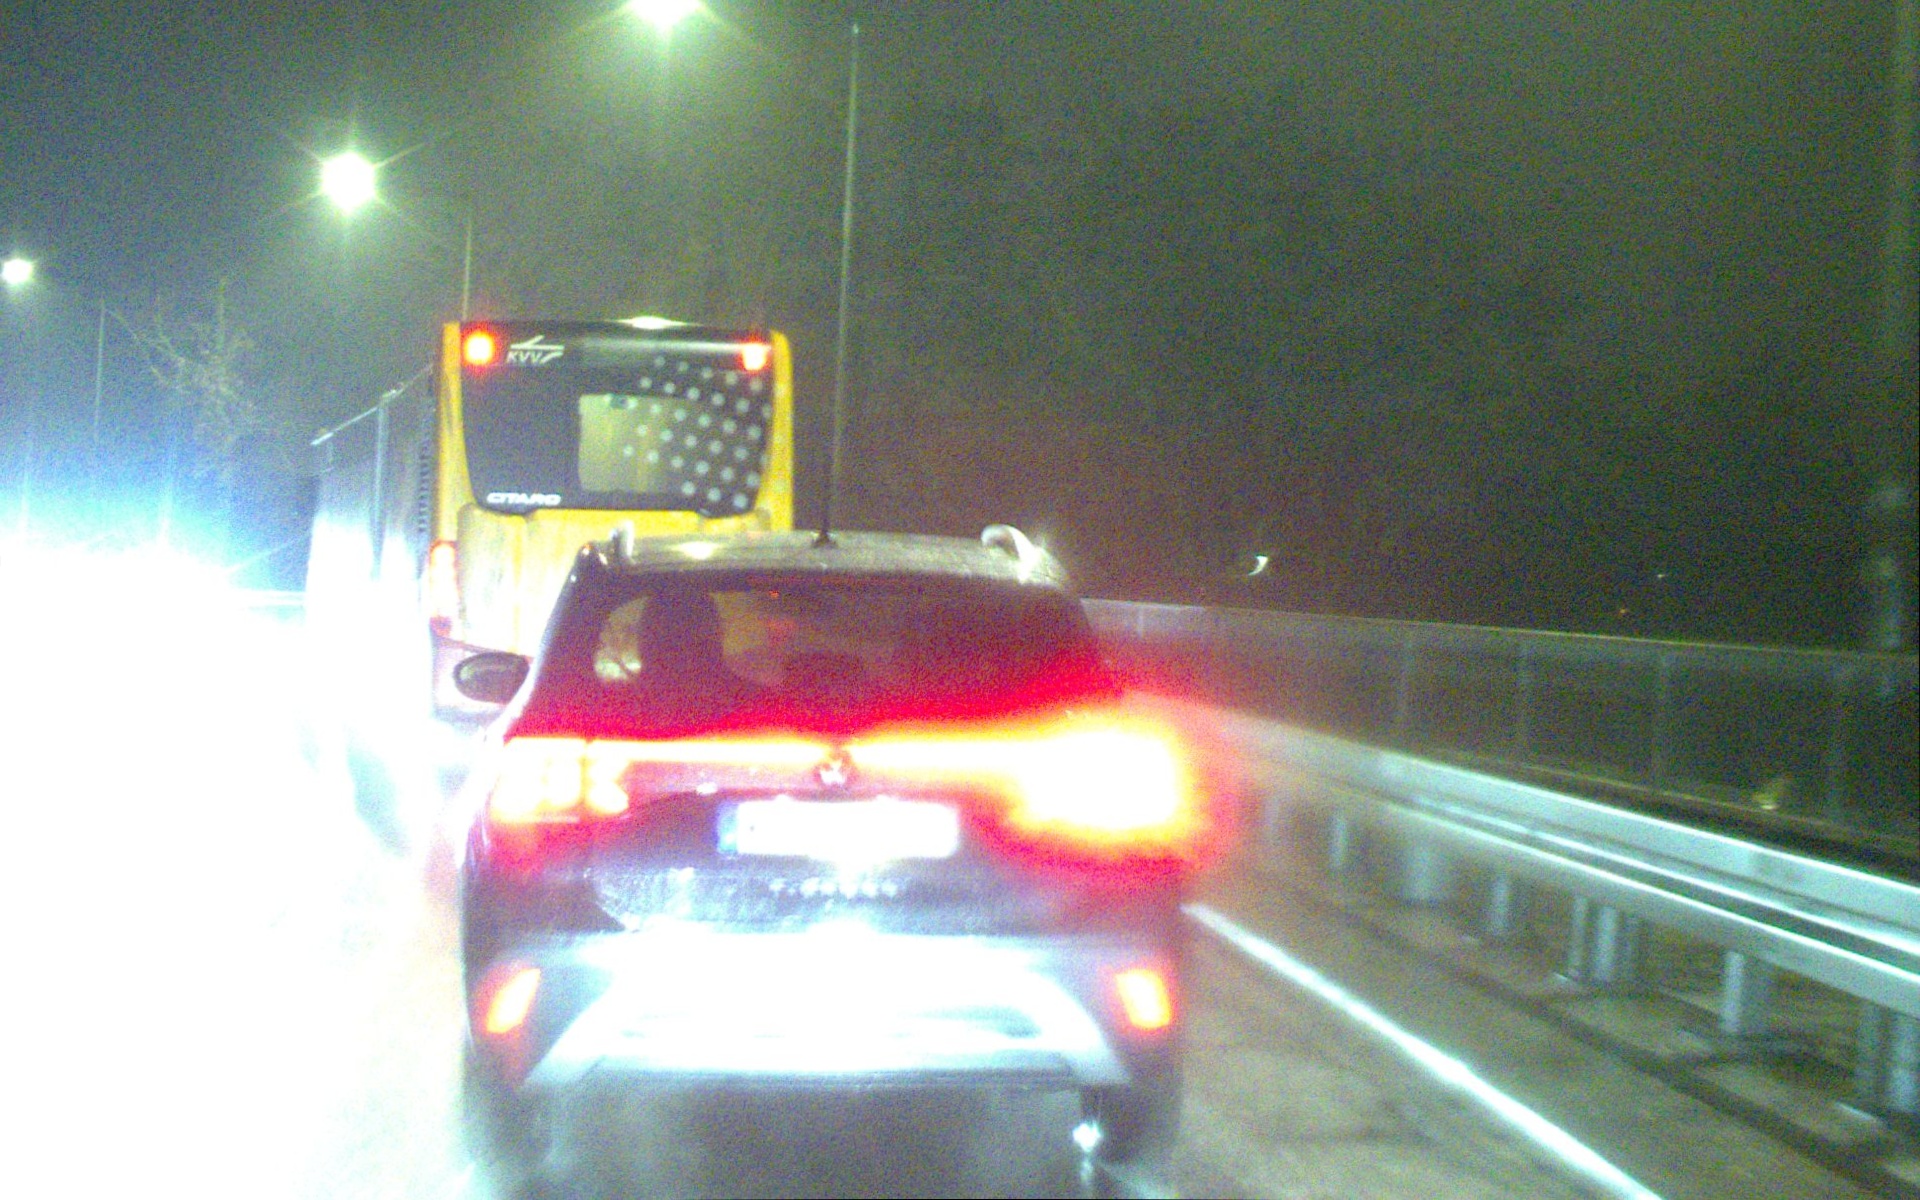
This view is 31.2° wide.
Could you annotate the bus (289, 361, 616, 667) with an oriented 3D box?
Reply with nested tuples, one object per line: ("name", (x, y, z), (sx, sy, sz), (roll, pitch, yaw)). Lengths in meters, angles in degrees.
("bus", (-5.981, -0.926, 39.334), (3.048, 3.121, 8.080), (-1, 1, -13))

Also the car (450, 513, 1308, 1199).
("car", (-0.346, 0.596, 9.453), (1.855, 1.581, 4.001), (0, 0, -5))

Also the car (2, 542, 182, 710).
("car", (-9.470, 0.242, 37.380), (1.778, 1.698, 4.315), (-1, 1, -15))

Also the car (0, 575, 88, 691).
("car", (-14.056, 0.460, 50.902), (1.792, 1.625, 3.994), (0, 1, -20))

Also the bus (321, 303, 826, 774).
("bus", (-3.729, -0.520, 29.295), (3.082, 3.122, 12.701), (-1, 1, -12))

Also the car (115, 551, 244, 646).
("car", (-14.361, -0.012, 63.141), (1.636, 1.650, 3.710), (-1, -1, -23))
